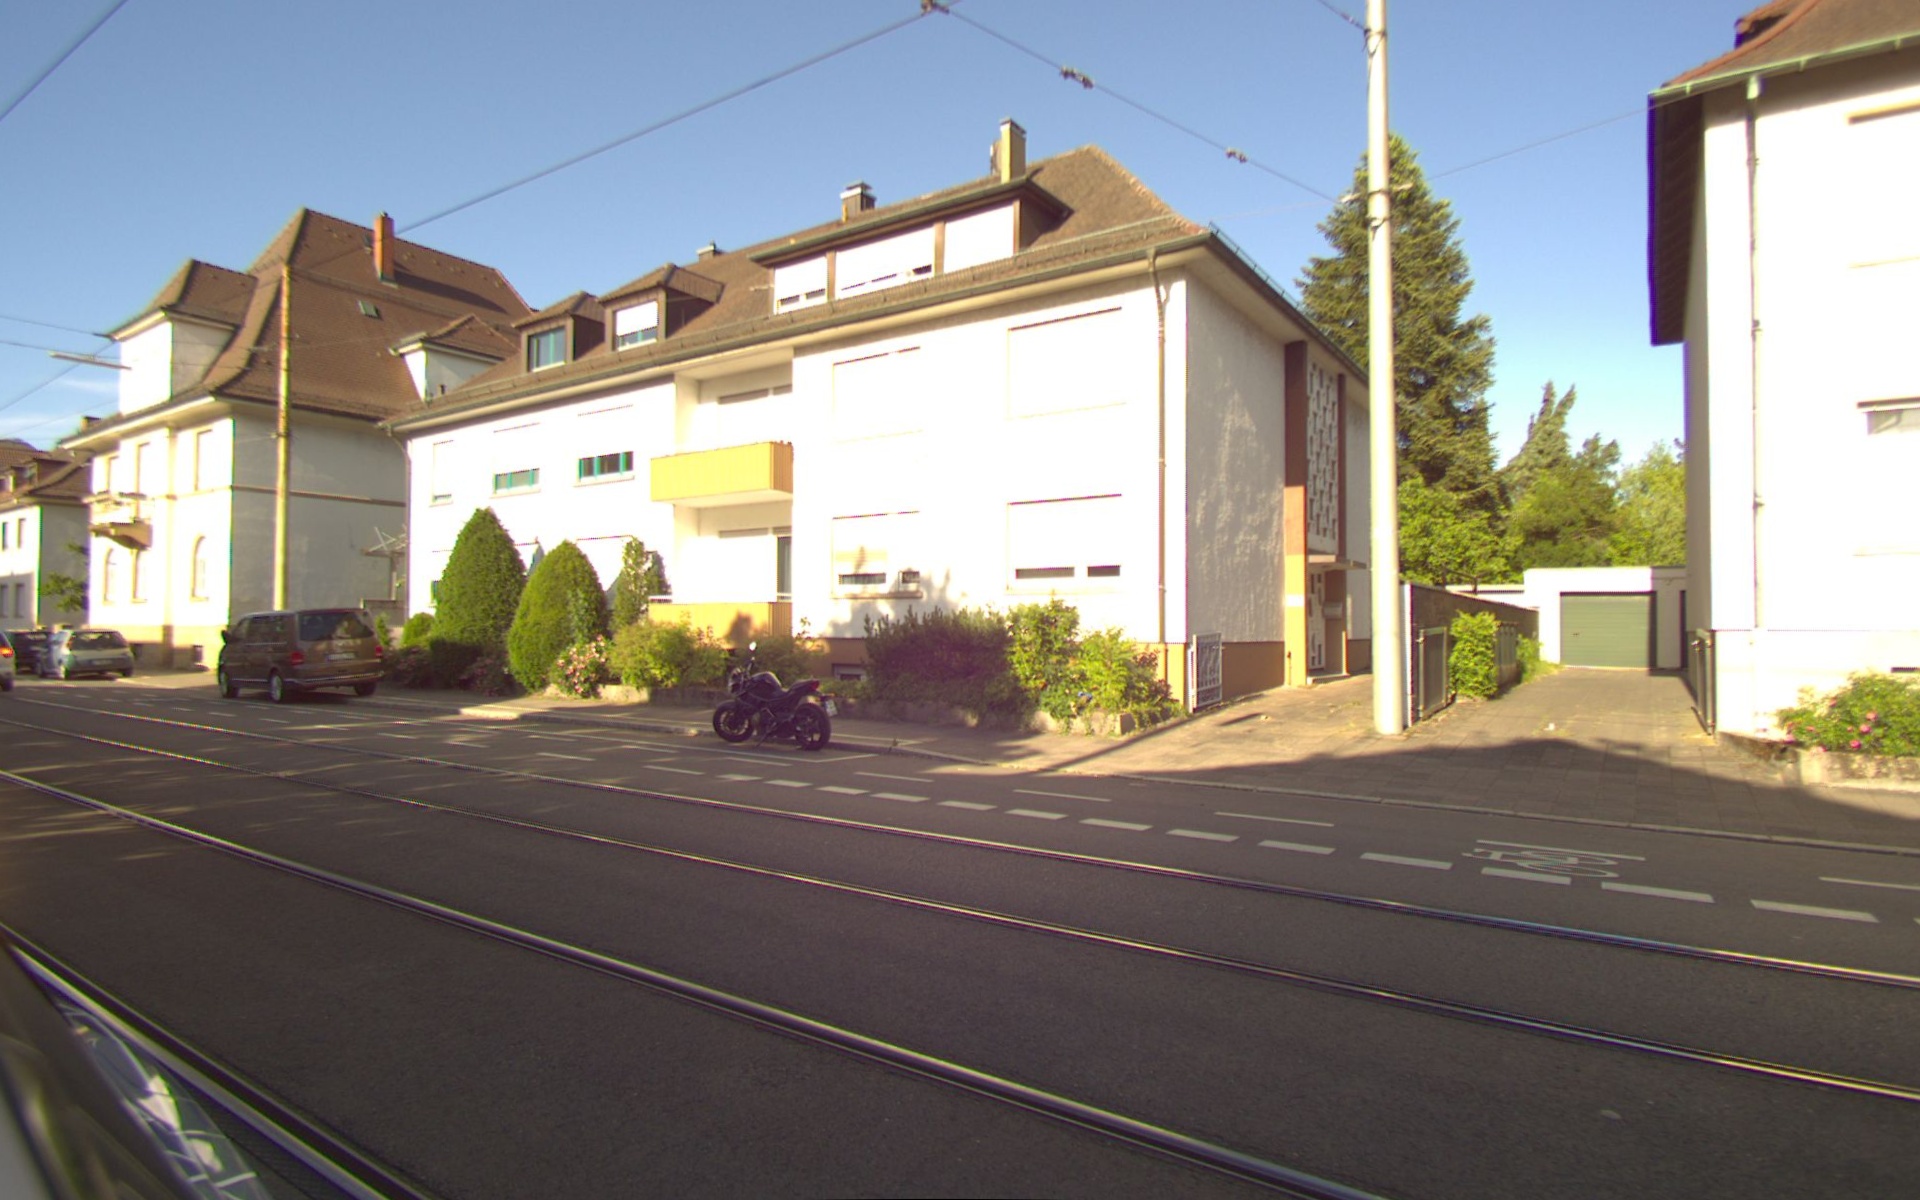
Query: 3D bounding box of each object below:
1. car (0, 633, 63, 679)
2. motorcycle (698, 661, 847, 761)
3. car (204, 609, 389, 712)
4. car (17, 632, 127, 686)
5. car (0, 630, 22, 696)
[{"bbox_3d":[-32.059,1.841,34.041,4.235,1.488,1.650,-1,-2,31],"label":"car"},{"bbox_3d":[-2.478,1.408,13.215,2.167,1.171,0.531,-1,-4,36],"label":"motorcycle"},{"bbox_3d":[-14.733,1.242,22.361,4.941,2.029,1.888,-1,-1,37],"label":"car"},{"bbox_3d":[-26.677,1.715,30.384,3.826,1.488,1.662,-1,-1,35],"label":"car"},{"bbox_3d":[-23.370,1.431,23.516,3.433,1.488,1.561,-1,-4,35],"label":"car"}]
